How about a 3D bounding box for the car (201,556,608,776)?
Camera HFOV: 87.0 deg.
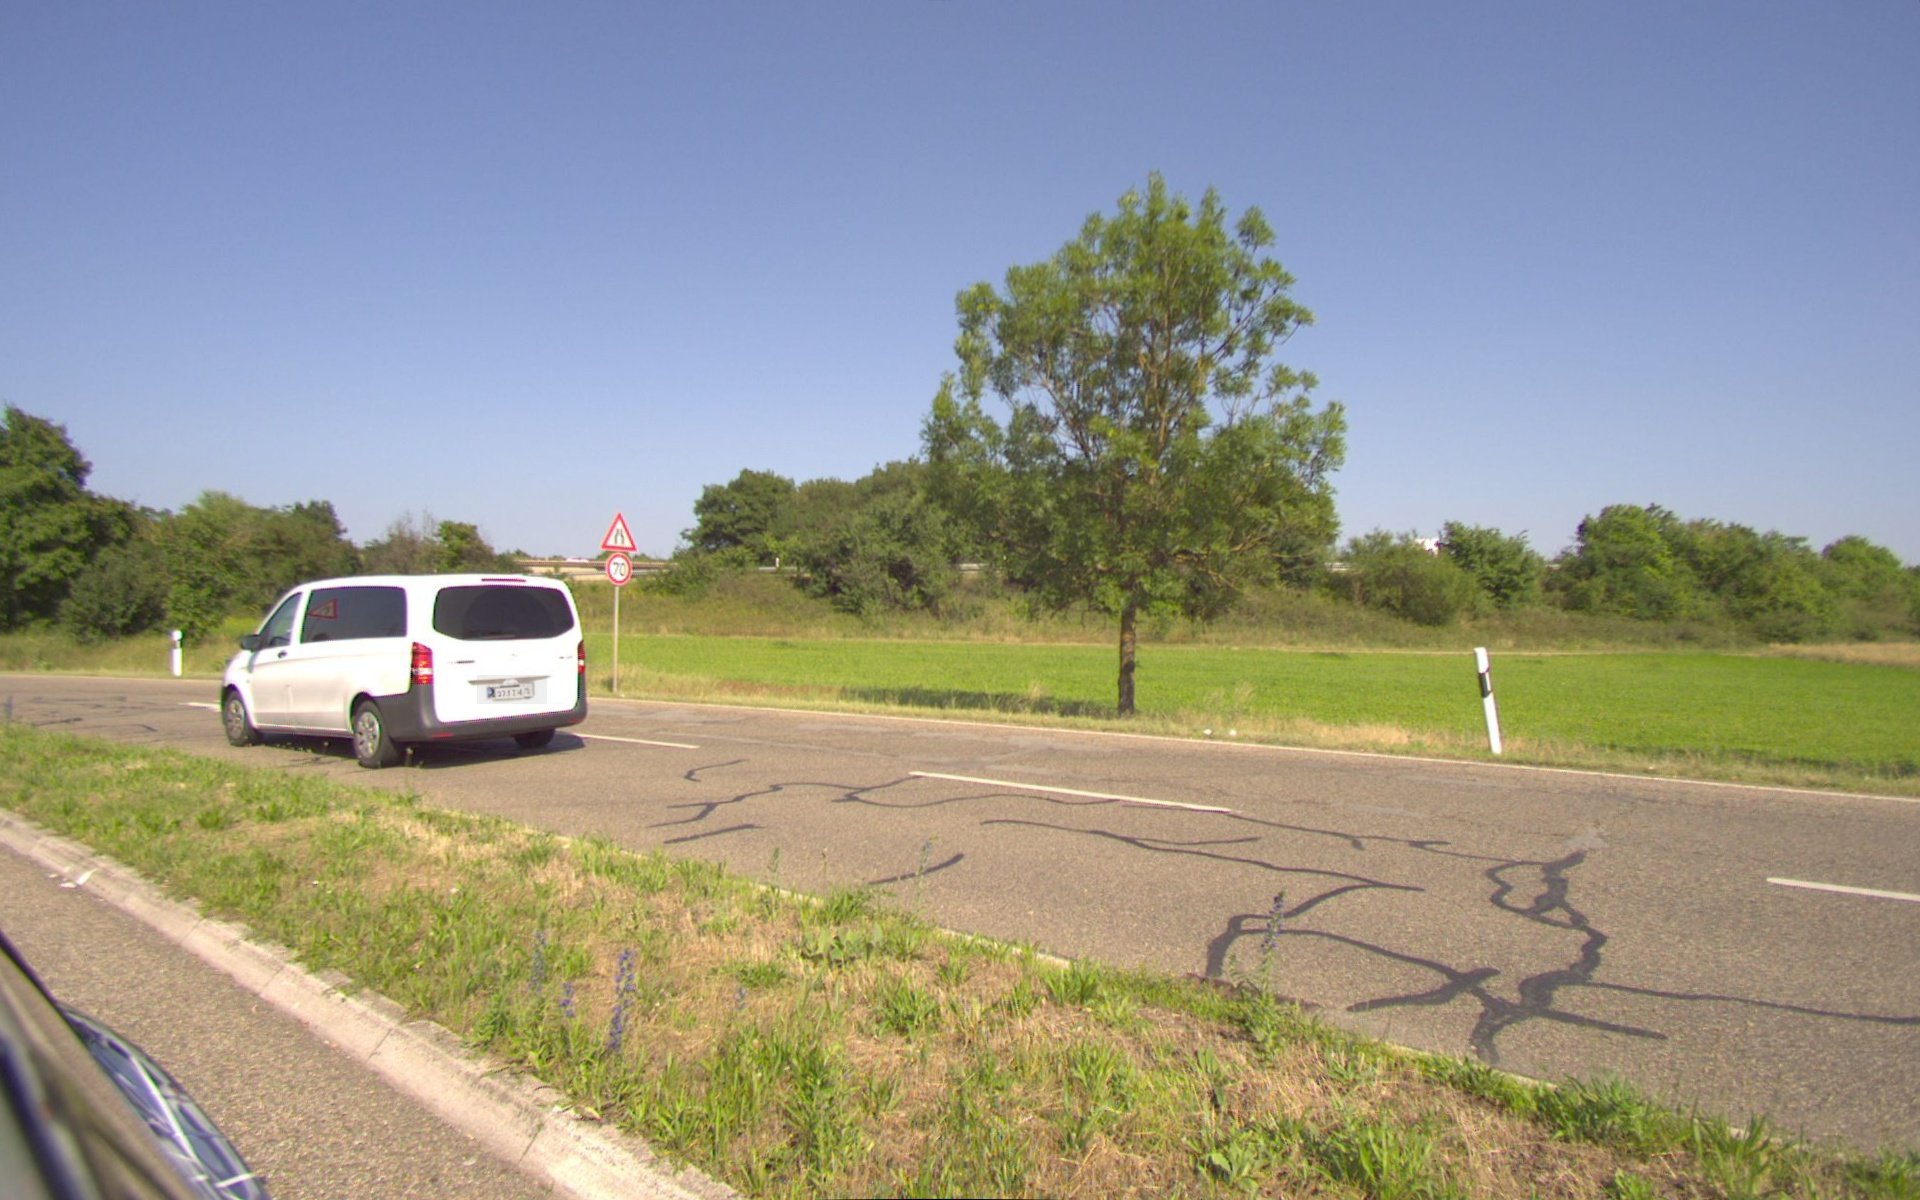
[{"bbox_3d":[-6.248,0.636,11.149,4.936,1.932,1.976,-2,-1,35],"label":"car"}]
